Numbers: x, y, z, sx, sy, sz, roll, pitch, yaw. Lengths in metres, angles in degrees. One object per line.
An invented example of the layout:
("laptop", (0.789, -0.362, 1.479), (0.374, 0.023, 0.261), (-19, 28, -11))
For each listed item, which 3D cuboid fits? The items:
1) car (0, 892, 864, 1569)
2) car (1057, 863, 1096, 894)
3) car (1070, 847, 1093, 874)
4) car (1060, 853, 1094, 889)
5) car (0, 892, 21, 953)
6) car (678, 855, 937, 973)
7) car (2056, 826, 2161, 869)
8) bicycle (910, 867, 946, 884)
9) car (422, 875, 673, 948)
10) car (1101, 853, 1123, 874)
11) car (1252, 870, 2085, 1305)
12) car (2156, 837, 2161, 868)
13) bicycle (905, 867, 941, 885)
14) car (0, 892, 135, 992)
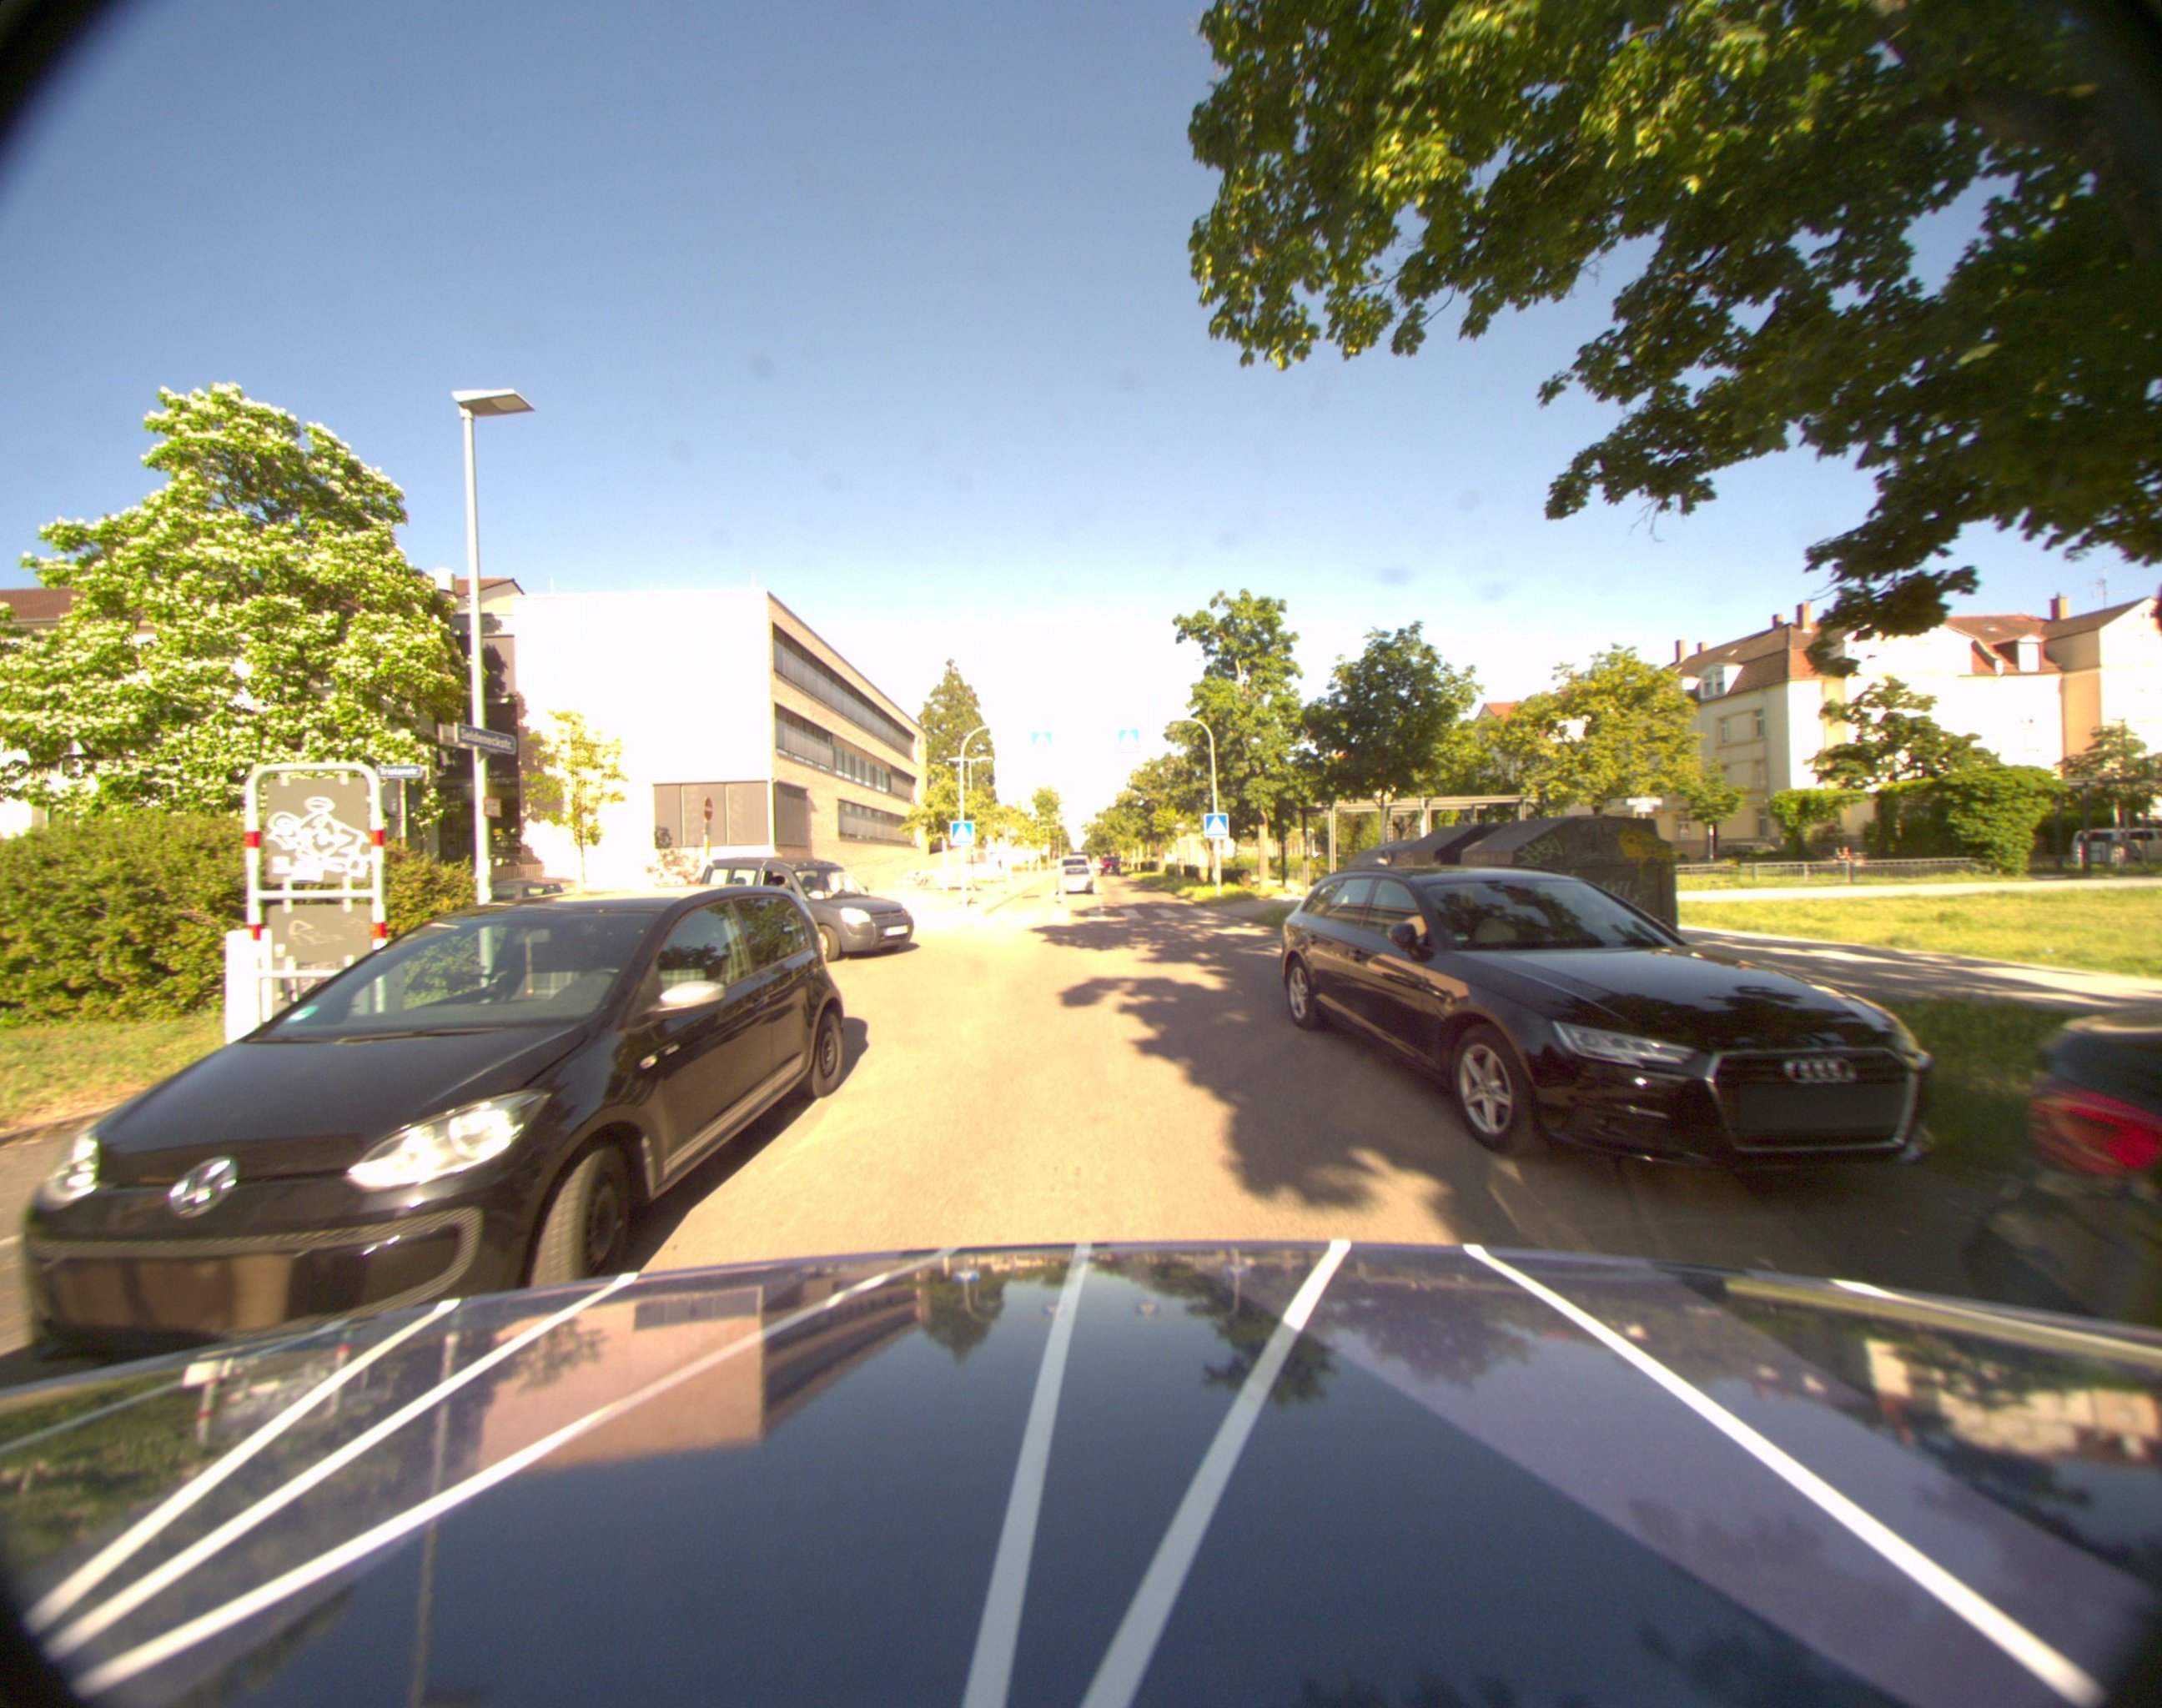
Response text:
("car", (-2.513, 1.054, 3.796), (1.662, 1.465, 3.793), (-3, 0, 0))
("car", (-0.152, 1.116, 36.200), (1.652, 1.324, 4.935), (-2, 0, 2))
("car", (0.107, 0.636, 76.988), (2.074, 2.583, 6.203), (-2, 0, 2))
("car", (-0.172, 0.910, 43.524), (1.788, 1.899, 4.627), (-2, 0, 2))
("car", (-28.620, 1.771, 18.013), (4.159, 1.473, 1.899), (-1, 4, 0))
("car", (-4.822, 0.977, 13.364), (4.146, 1.779, 1.907), (-2, 0, 27))
("car", (50.139, -0.328, 36.506), (3.812, 1.944, 2.043), (-2, 0, 2))
("bicycle", (-9.839, 1.364, 48.954), (2.084, 1.058, 0.860), (1, 0, 1))
("car", (-12.624, 1.328, 18.229), (4.558, 1.466, 1.907), (-2, 1, -2))
("car", (3.069, 0.911, 74.259), (2.021, 1.867, 4.741), (-2, 0, 4))
("car", (2.749, 0.909, 5.288), (1.840, 1.444, 4.967), (-1, 0, -2))
("car", (54.782, -0.108, 36.305), (3.812, 1.510, 2.043), (-2, 0, 2))
("bicycle", (-9.890, 1.352, 47.666), (2.030, 1.057, 0.883), (1, 0, -1))
("car", (-19.149, 1.496, 12.813), (3.981, 1.502, 1.823), (-2, 0, -1))
